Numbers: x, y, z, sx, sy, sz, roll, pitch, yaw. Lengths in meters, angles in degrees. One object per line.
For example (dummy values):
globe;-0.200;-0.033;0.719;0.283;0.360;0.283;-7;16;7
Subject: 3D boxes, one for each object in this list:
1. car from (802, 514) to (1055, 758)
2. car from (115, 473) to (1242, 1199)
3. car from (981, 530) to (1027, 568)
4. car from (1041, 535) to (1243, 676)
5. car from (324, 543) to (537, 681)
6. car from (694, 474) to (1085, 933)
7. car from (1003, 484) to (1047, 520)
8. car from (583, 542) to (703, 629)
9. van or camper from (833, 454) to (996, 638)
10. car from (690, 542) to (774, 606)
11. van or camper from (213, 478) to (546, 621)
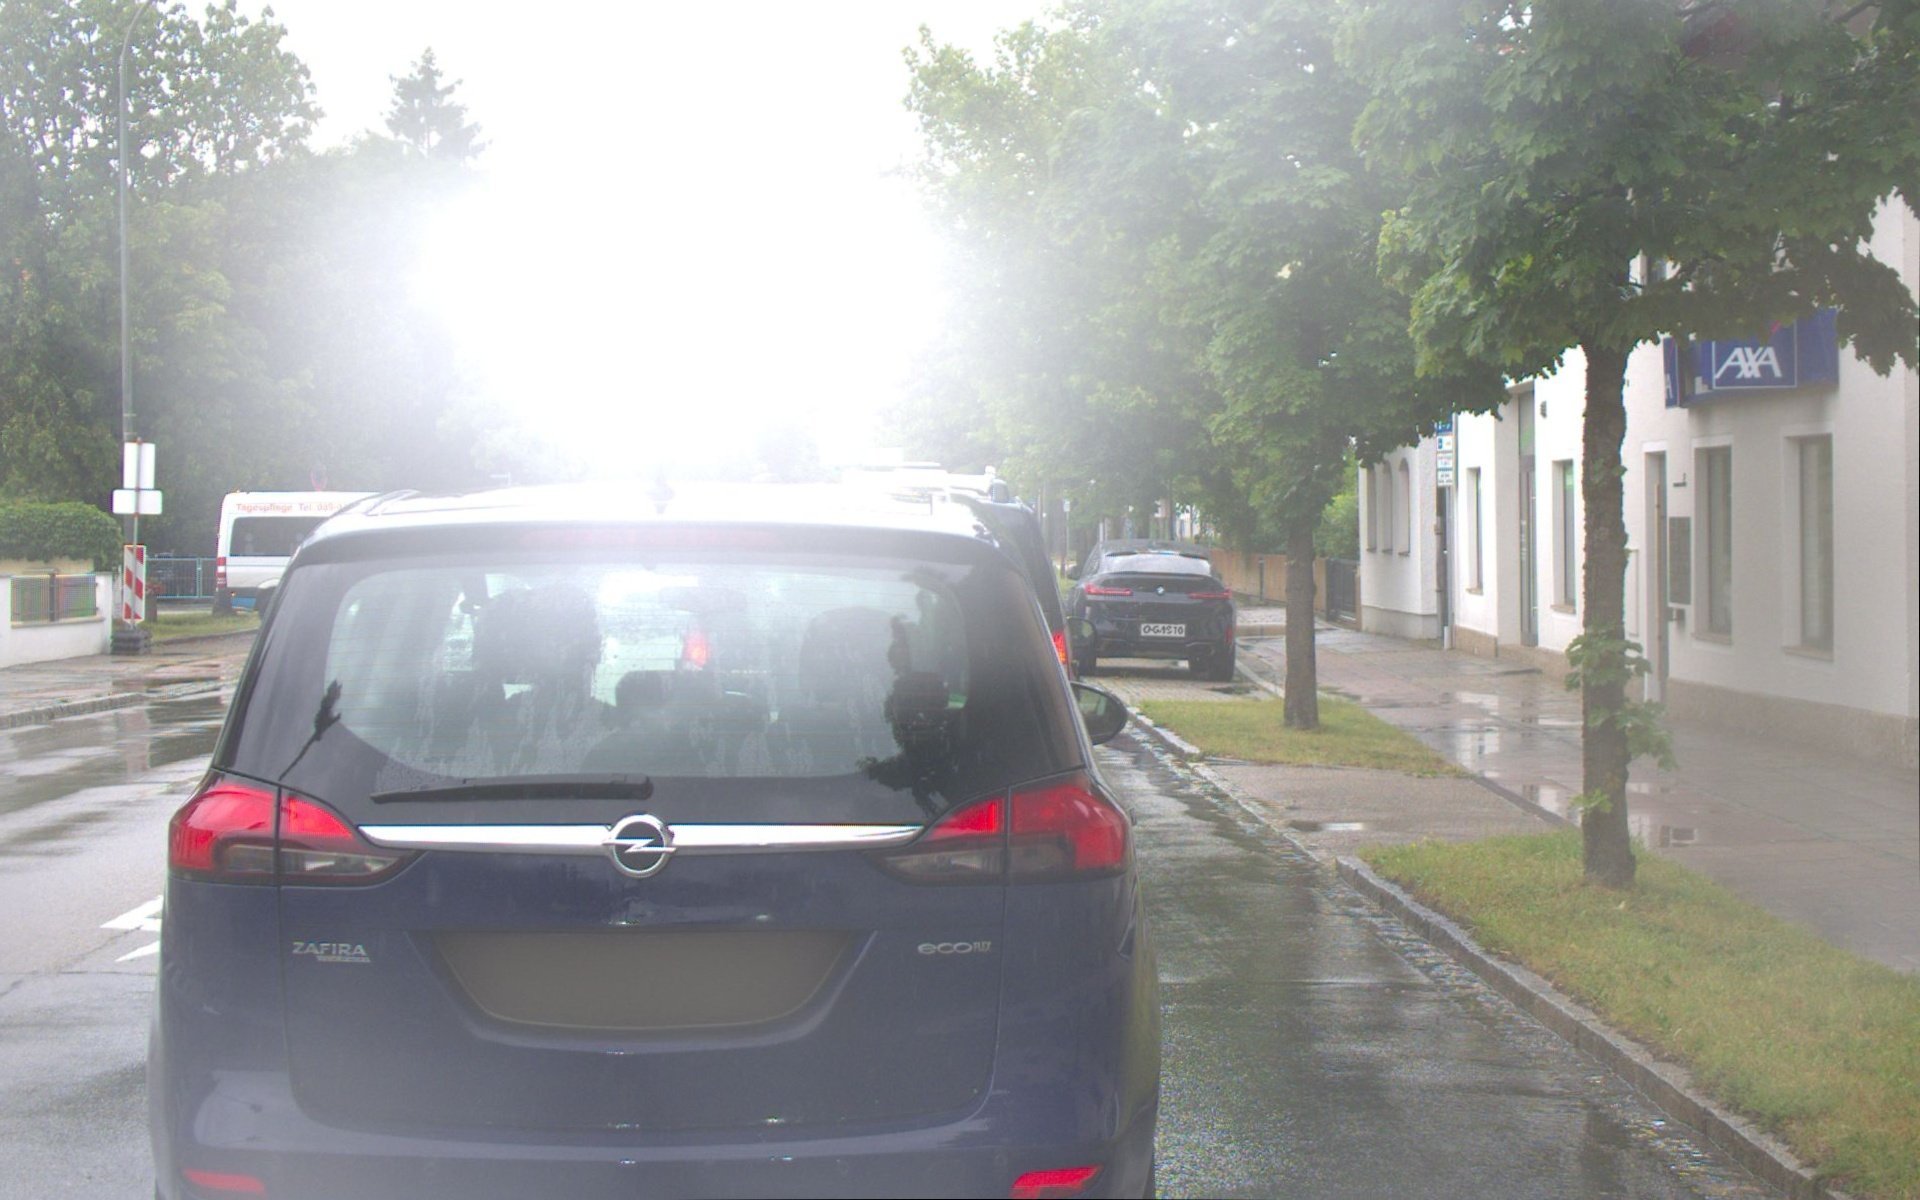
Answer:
car;-0.235;0.221;25.932;1.756;1.700;3.619;-1;1;0
car;-0.469;0.583;7.296;1.768;1.599;3.663;1;1;-1
car;1.651;-1.927;130.223;1.630;1.373;3.623;1;0;-1
car;2.137;0.040;41.422;2.117;1.576;3.936;1;1;-1
car;-6.413;0.108;42.026;1.967;1.557;4.152;-1;1;-1
car;-0.292;0.380;15.032;1.500;1.770;3.112;1;1;-1
car;2.632;-3.962;139.584;1.630;1.373;3.623;-1;1;-1
car;-5.941;-0.307;64.812;1.926;1.561;4.126;-1;1;-1
van or camper;-0.691;-0.836;52.838;2.360;2.656;5.372;-1;1;0
car;-5.699;-0.680;86.437;1.752;1.506;4.230;-2;1;0
van or camper;-11.205;-0.992;66.753;6.246;2.698;2.101;-1;1;-6
